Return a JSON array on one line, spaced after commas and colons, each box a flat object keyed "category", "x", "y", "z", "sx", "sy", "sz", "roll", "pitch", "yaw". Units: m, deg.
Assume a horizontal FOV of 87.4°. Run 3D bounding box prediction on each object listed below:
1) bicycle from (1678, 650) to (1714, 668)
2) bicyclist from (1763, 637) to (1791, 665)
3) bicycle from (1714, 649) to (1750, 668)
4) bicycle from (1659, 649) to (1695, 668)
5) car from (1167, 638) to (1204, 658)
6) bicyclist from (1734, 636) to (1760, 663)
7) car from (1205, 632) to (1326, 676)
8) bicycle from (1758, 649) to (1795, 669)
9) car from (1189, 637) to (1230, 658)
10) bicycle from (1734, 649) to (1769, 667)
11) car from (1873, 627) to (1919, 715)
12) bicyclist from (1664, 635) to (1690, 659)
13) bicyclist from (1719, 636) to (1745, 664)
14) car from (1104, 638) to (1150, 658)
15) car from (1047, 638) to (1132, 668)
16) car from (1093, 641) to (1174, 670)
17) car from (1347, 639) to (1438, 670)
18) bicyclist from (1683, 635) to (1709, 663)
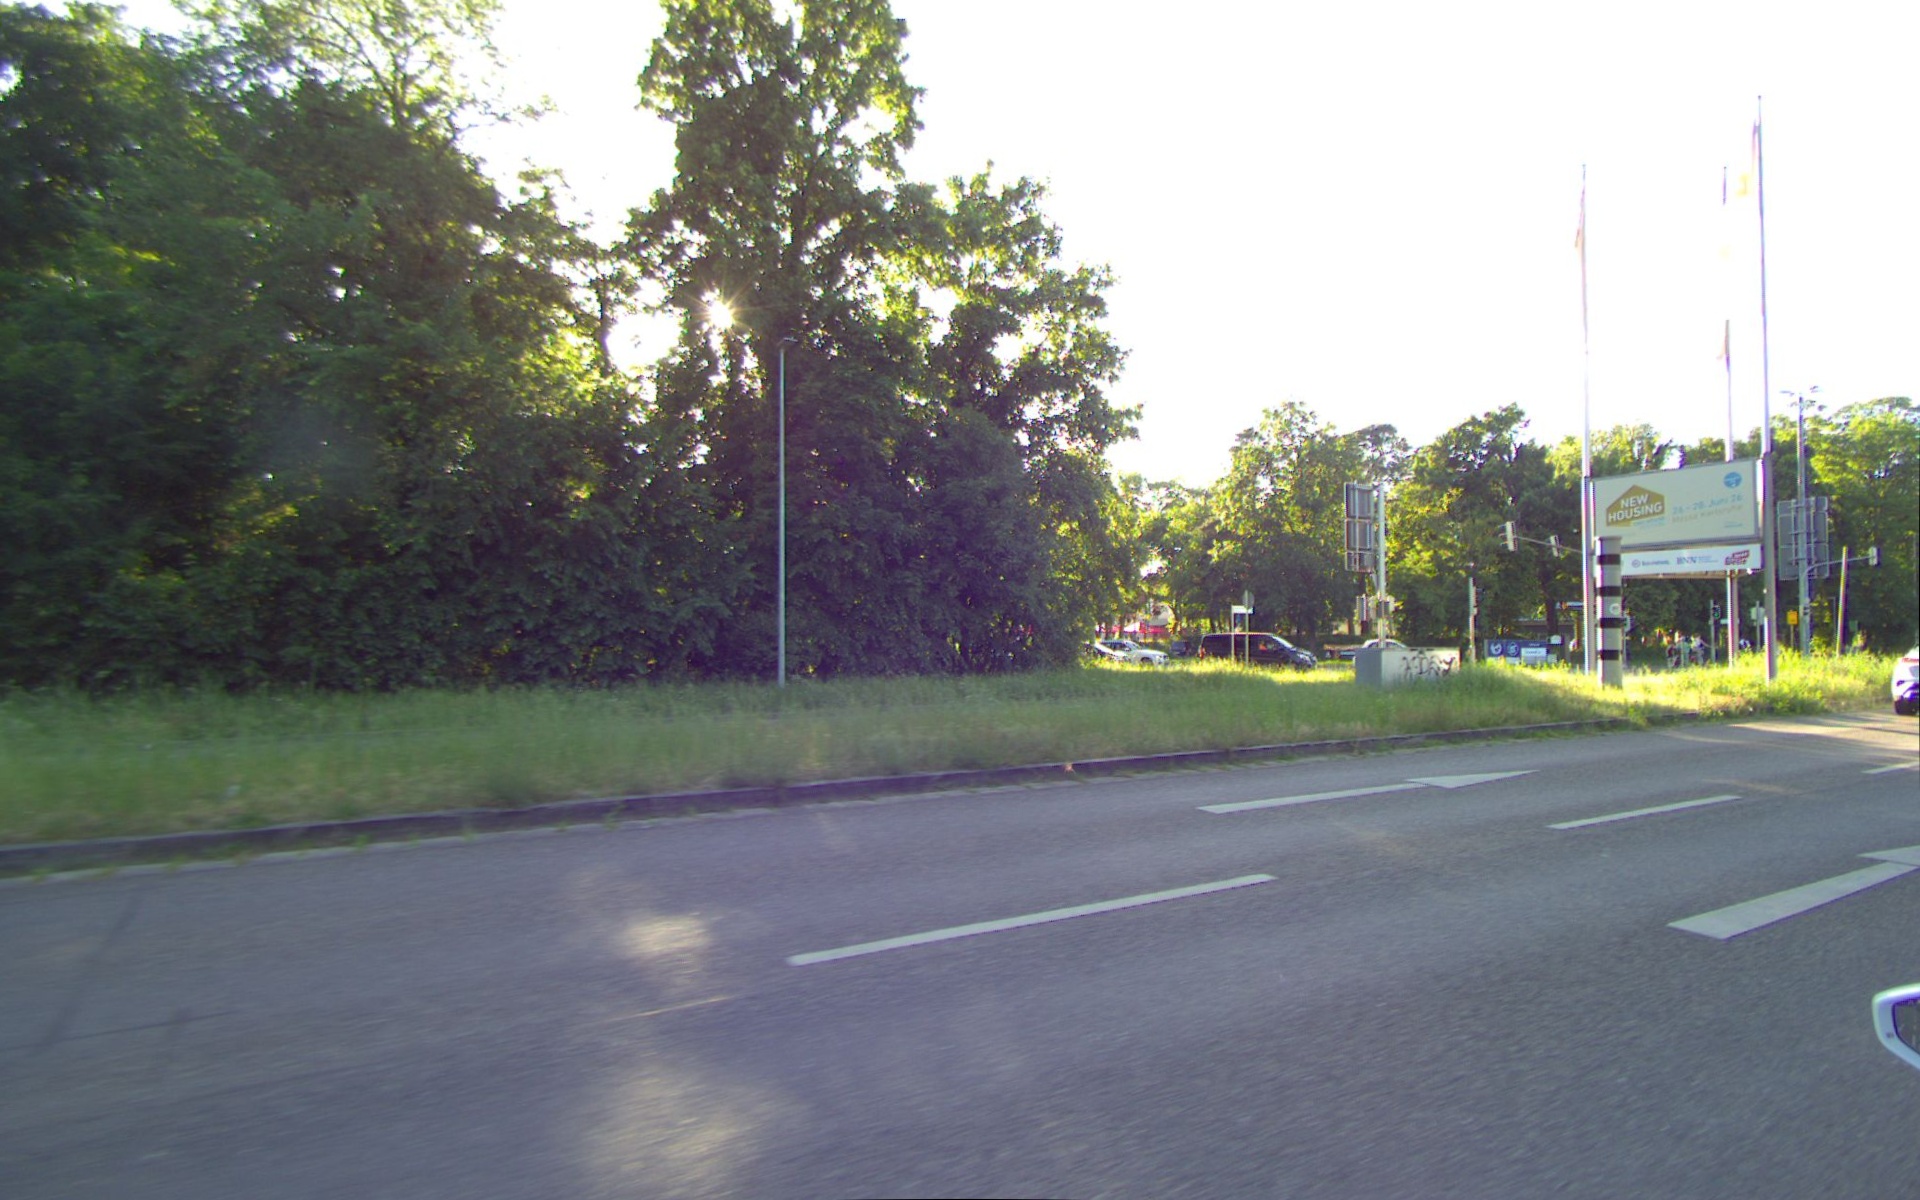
[{"category": "bicycle", "x": 37.548, "y": 2.997, "z": 51.226, "sx": 1.887, "sy": 0.926, "sz": 0.712, "roll": 1, "pitch": -2, "yaw": -28}, {"category": "bicyclist", "x": 39.815, "y": 2.474, "z": 48.968, "sx": 0.978, "sy": 1.356, "sz": 0.712, "roll": 1, "pitch": -2, "yaw": -28}, {"category": "bicycle", "x": 38.882, "y": 2.937, "z": 50.585, "sx": 1.887, "sy": 0.926, "sz": 0.712, "roll": 1, "pitch": -2, "yaw": -28}, {"category": "bicycle", "x": 37.157, "y": 3.019, "z": 52.048, "sx": 1.887, "sy": 0.926, "sz": 0.712, "roll": 0, "pitch": -2, "yaw": -28}, {"category": "car", "x": 18.682, "y": 3.981, "z": 83.108, "sx": 1.785, "sy": 1.620, "sz": 3.490, "roll": -1, "pitch": -2, "yaw": 36}, {"category": "bicyclist", "x": 40.278, "y": 2.518, "z": 51.408, "sx": 0.978, "sy": 1.360, "sz": 0.712, "roll": 1, "pitch": -2, "yaw": -28}, {"category": "car", "x": 13.598, "y": 2.382, "z": 44.830, "sx": 4.851, "sy": 1.854, "sz": 1.923, "roll": -1, "pitch": -2, "yaw": 34}, {"category": "bicycle", "x": 39.763, "y": 2.872, "z": 48.931, "sx": 1.887, "sy": 0.926, "sz": 0.712, "roll": 1, "pitch": -2, "yaw": -28}, {"category": "car", "x": 20.082, "y": 3.815, "z": 80.721, "sx": 1.785, "sy": 1.620, "sz": 4.182, "roll": -1, "pitch": -2, "yaw": 36}, {"category": "bicycle", "x": 40.676, "y": 2.973, "z": 51.612, "sx": 1.887, "sy": 0.926, "sz": 0.712, "roll": 1, "pitch": -2, "yaw": -28}, {"category": "car", "x": 17.954, "y": 1.234, "z": 17.630, "sx": 3.955, "sy": 1.463, "sz": 1.853, "roll": 2, "pitch": -1, "yaw": -32}, {"category": "bicyclist", "x": 37.156, "y": 2.419, "z": 52.067, "sx": 0.978, "sy": 1.208, "sz": 0.712, "roll": 1, "pitch": -2, "yaw": -28}, {"category": "bicyclist", "x": 38.879, "y": 2.497, "z": 50.595, "sx": 0.978, "sy": 1.373, "sz": 0.712, "roll": 1, "pitch": -2, "yaw": -28}, {"category": "car", "x": 14.242, "y": 4.030, "z": 85.347, "sx": 4.123, "sy": 1.620, "sz": 1.790, "roll": 2, "pitch": -3, "yaw": -44}, {"category": "car", "x": 6.350, "y": 2.592, "z": 49.426, "sx": 3.736, "sy": 1.407, "sz": 1.849, "roll": -1, "pitch": -2, "yaw": 34}, {"category": "car", "x": 8.941, "y": 2.832, "z": 51.774, "sx": 3.736, "sy": 1.407, "sz": 1.849, "roll": -1, "pitch": -2, "yaw": 34}, {"category": "car", "x": 20.731, "y": 2.574, "z": 48.140, "sx": 3.735, "sy": 1.407, "sz": 1.923, "roll": -1, "pitch": -2, "yaw": 34}, {"category": "bicyclist", "x": 37.517, "y": 2.509, "z": 51.228, "sx": 0.978, "sy": 1.408, "sz": 0.708, "roll": 1, "pitch": -2, "yaw": -28}]
